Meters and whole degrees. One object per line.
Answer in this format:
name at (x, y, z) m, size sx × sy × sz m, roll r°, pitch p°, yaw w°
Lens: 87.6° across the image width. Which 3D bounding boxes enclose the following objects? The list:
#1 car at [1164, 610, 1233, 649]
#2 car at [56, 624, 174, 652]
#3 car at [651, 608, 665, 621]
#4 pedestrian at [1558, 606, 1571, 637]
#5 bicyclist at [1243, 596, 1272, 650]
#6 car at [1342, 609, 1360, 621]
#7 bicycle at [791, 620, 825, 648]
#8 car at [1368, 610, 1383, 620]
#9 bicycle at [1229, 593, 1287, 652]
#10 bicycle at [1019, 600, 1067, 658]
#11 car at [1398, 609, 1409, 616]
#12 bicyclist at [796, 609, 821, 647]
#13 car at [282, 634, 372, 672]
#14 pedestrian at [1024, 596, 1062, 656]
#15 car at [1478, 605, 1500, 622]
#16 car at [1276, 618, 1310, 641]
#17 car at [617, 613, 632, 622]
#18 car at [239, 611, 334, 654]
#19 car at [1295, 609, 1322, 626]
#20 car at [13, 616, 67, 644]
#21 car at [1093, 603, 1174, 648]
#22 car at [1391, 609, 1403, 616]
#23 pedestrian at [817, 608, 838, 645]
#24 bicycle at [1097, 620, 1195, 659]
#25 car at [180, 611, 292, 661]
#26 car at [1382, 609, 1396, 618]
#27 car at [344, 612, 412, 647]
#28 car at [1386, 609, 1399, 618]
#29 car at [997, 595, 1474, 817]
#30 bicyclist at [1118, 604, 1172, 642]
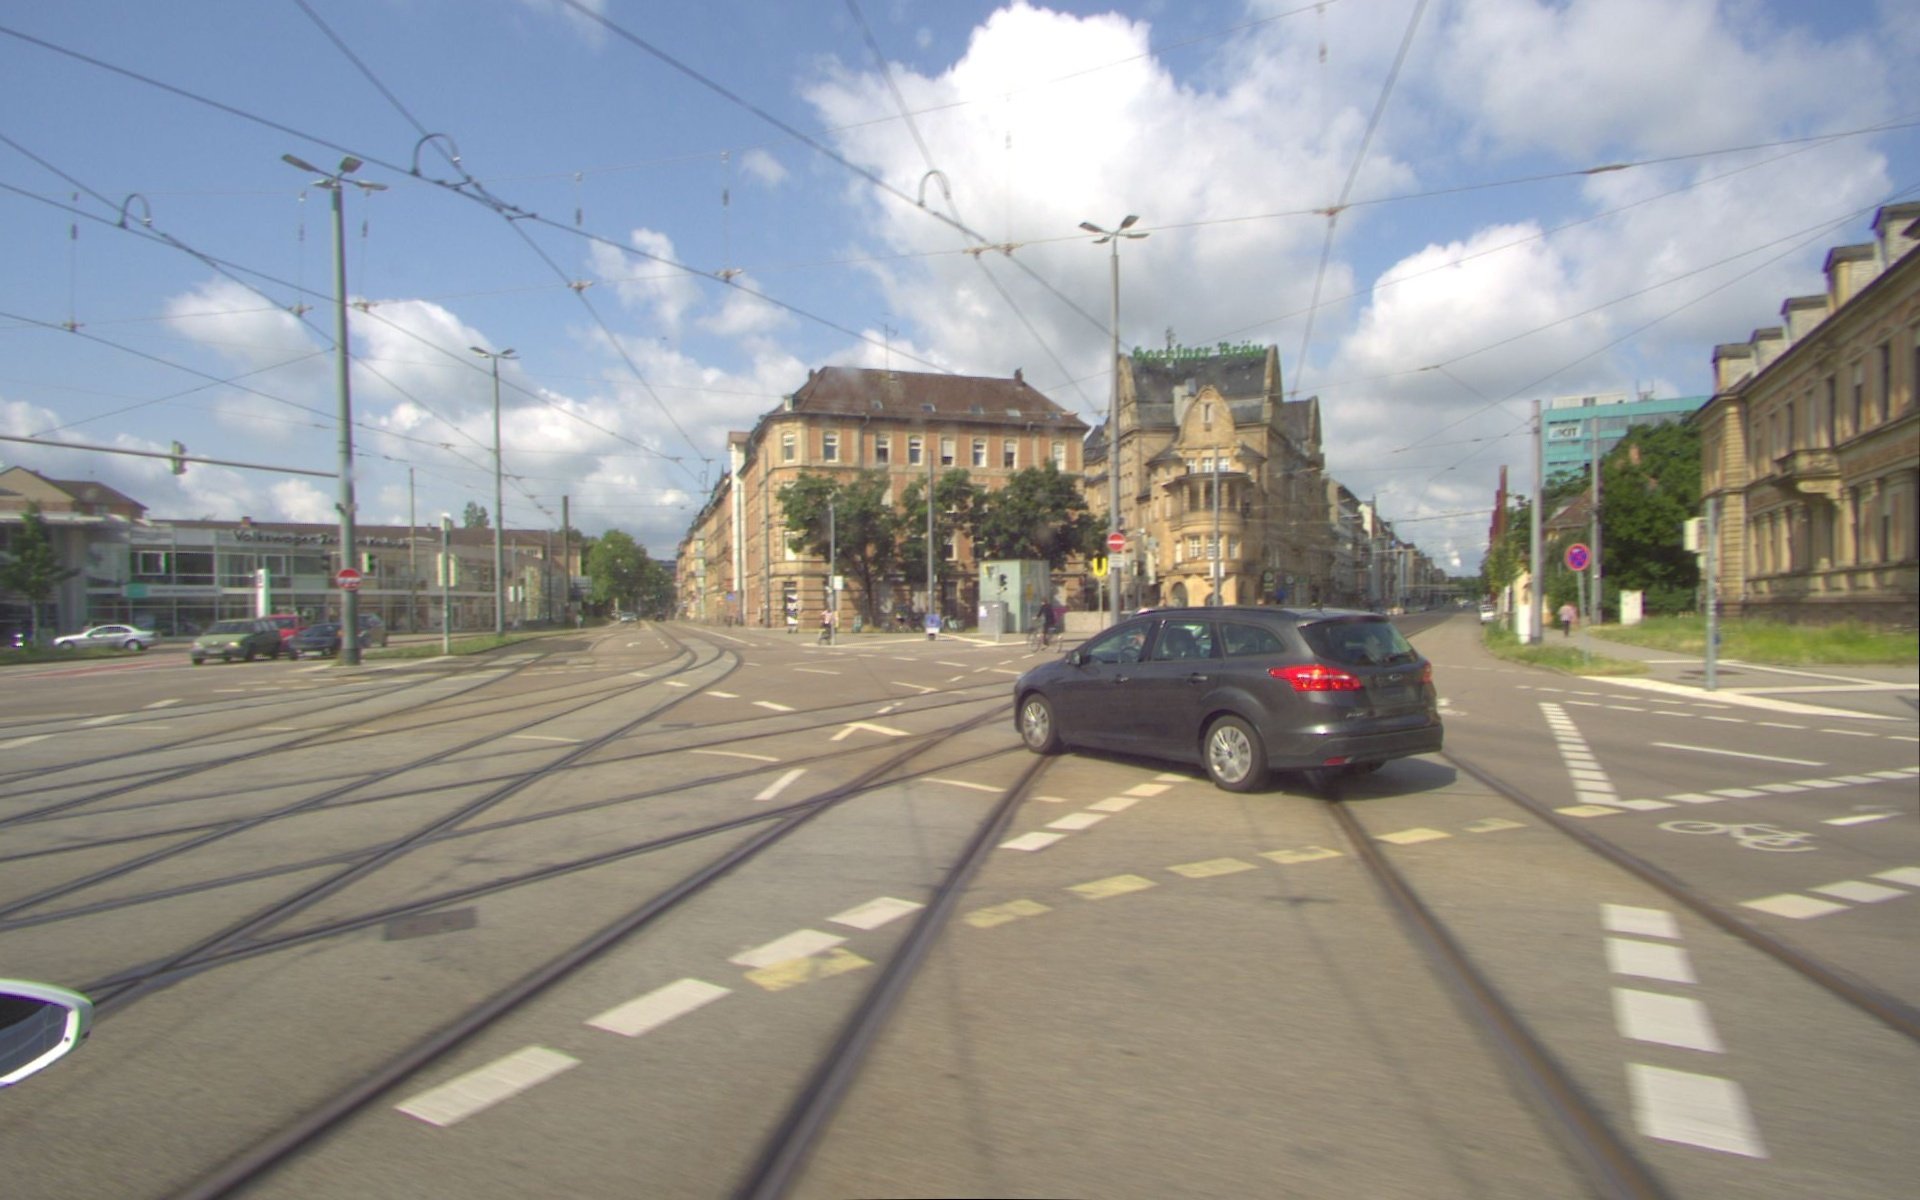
car at (11.628, 1.420, 48.586) m, size 1.971 × 1.617 × 4.661 m, roll -2°, pitch 1°, yaw 30°
car at (-44.905, 2.010, 53.353) m, size 4.483 × 1.371 × 1.991 m, roll 0°, pitch -1°, yaw -29°
car at (-48.148, 2.371, 159.824) m, size 1.964 × 2.040 × 3.994 m, roll 0°, pitch 0°, yaw -15°
pedestrian at (29.097, 1.031, 48.195) m, size 0.498 × 1.525 × 0.498 m, roll 0°, pitch 0°, yaw 23°
bicyclist at (9.441, 0.741, 31.820) m, size 0.567 × 1.692 × 0.651 m, roll -1°, pitch -1°, yaw -36°
car at (49.665, 1.876, 127.152) m, size 1.823 × 1.558 × 3.807 m, roll 0°, pitch 0°, yaw 28°
bicycle at (-6.851, 1.496, 45.025) m, size 0.886 × 1.186 × 2.672 m, roll -2°, pitch 0°, yaw -22°
car at (63.586, 2.322, 153.229) m, size 1.823 × 1.558 × 3.807 m, roll 0°, pitch 0°, yaw 28°
bicycle at (9.462, 0.723, 31.810) m, size 0.722 × 1.800 × 1.626 m, roll -1°, pitch -1°, yaw -36°
bicycle at (2.630, 0.933, 31.934) m, size 0.989 × 1.747 × 2.469 m, roll -1°, pitch -1°, yaw -8°
car at (96.453, 2.664, 217.783) m, size 1.823 × 1.558 × 3.807 m, roll 0°, pitch 0°, yaw 28°
bicyclist at (-6.799, 1.247, 44.972) m, size 0.773 × 1.680 × 1.194 m, roll -2°, pitch 1°, yaw -22°
car at (-21.603, 1.781, 34.327) m, size 1.598 × 1.176 × 3.994 m, roll -1°, pitch -2°, yaw -17°
pedestrian at (2.630, 0.829, 31.870) m, size 0.976 × 1.865 × 0.996 m, roll -1°, pitch -1°, yaw -8°
car at (50.439, 1.270, 95.415) m, size 1.730 × 1.549 × 3.983 m, roll 0°, pitch -1°, yaw 30°
car at (25.370, 2.220, 76.272) m, size 1.823 × 1.683 × 3.985 m, roll -2°, pitch -2°, yaw 28°
car at (-48.556, 2.544, 145.023) m, size 1.965 × 1.349 × 3.991 m, roll 0°, pitch -1°, yaw -18°
car at (-26.260, 1.267, 39.178) m, size 1.965 × 1.538 × 3.994 m, roll -1°, pitch -1°, yaw -17°
car at (32.423, 1.617, 93.044) m, size 1.823 × 1.558 × 3.807 m, roll 0°, pitch 0°, yaw 28°
car at (-52.713, 1.685, 57.440) m, size 1.904 × 1.463 × 3.968 m, roll 2°, pitch -1°, yaw -38°
car at (7.350, 1.081, 42.159) m, size 1.970 × 1.761 × 4.322 m, roll -2°, pitch -2°, yaw 30°
car at (88.748, 2.537, 203.300) m, size 1.823 × 1.558 × 3.806 m, roll 0°, pitch 0°, yaw 28°
pedestrian at (-5.994, 1.191, 45.409) m, size 0.695 × 1.664 × 0.796 m, roll 0°, pitch 0°, yaw 13°
bicycle at (5.475, 1.204, 29.712) m, size 0.983 × 1.040 × 3.093 m, roll 1°, pitch -4°, yaw -33°
car at (-24.018, 1.193, 33.395) m, size 1.794 × 1.532 × 3.994 m, roll -1°, pitch -1°, yaw -17°
car at (74.399, 2.271, 173.675) m, size 1.823 × 1.558 × 3.807 m, roll 0°, pitch 0°, yaw 28°
car at (-27.673, 1.350, 47.715) m, size 1.965 × 1.572 × 3.992 m, roll 0°, pitch 0°, yaw -18°
car at (78.030, 2.392, 180.717) m, size 1.823 × 1.558 × 3.807 m, roll 0°, pitch 0°, yaw 28°
car at (2.235, 0.804, 9.288) m, size 1.748 × 1.548 × 4.232 m, roll 0°, pitch -2°, yaw -31°
bicyclist at (5.484, 0.702, 29.688) m, size 0.980 × 1.040 × 1.209 m, roll 1°, pitch -4°, yaw -33°
